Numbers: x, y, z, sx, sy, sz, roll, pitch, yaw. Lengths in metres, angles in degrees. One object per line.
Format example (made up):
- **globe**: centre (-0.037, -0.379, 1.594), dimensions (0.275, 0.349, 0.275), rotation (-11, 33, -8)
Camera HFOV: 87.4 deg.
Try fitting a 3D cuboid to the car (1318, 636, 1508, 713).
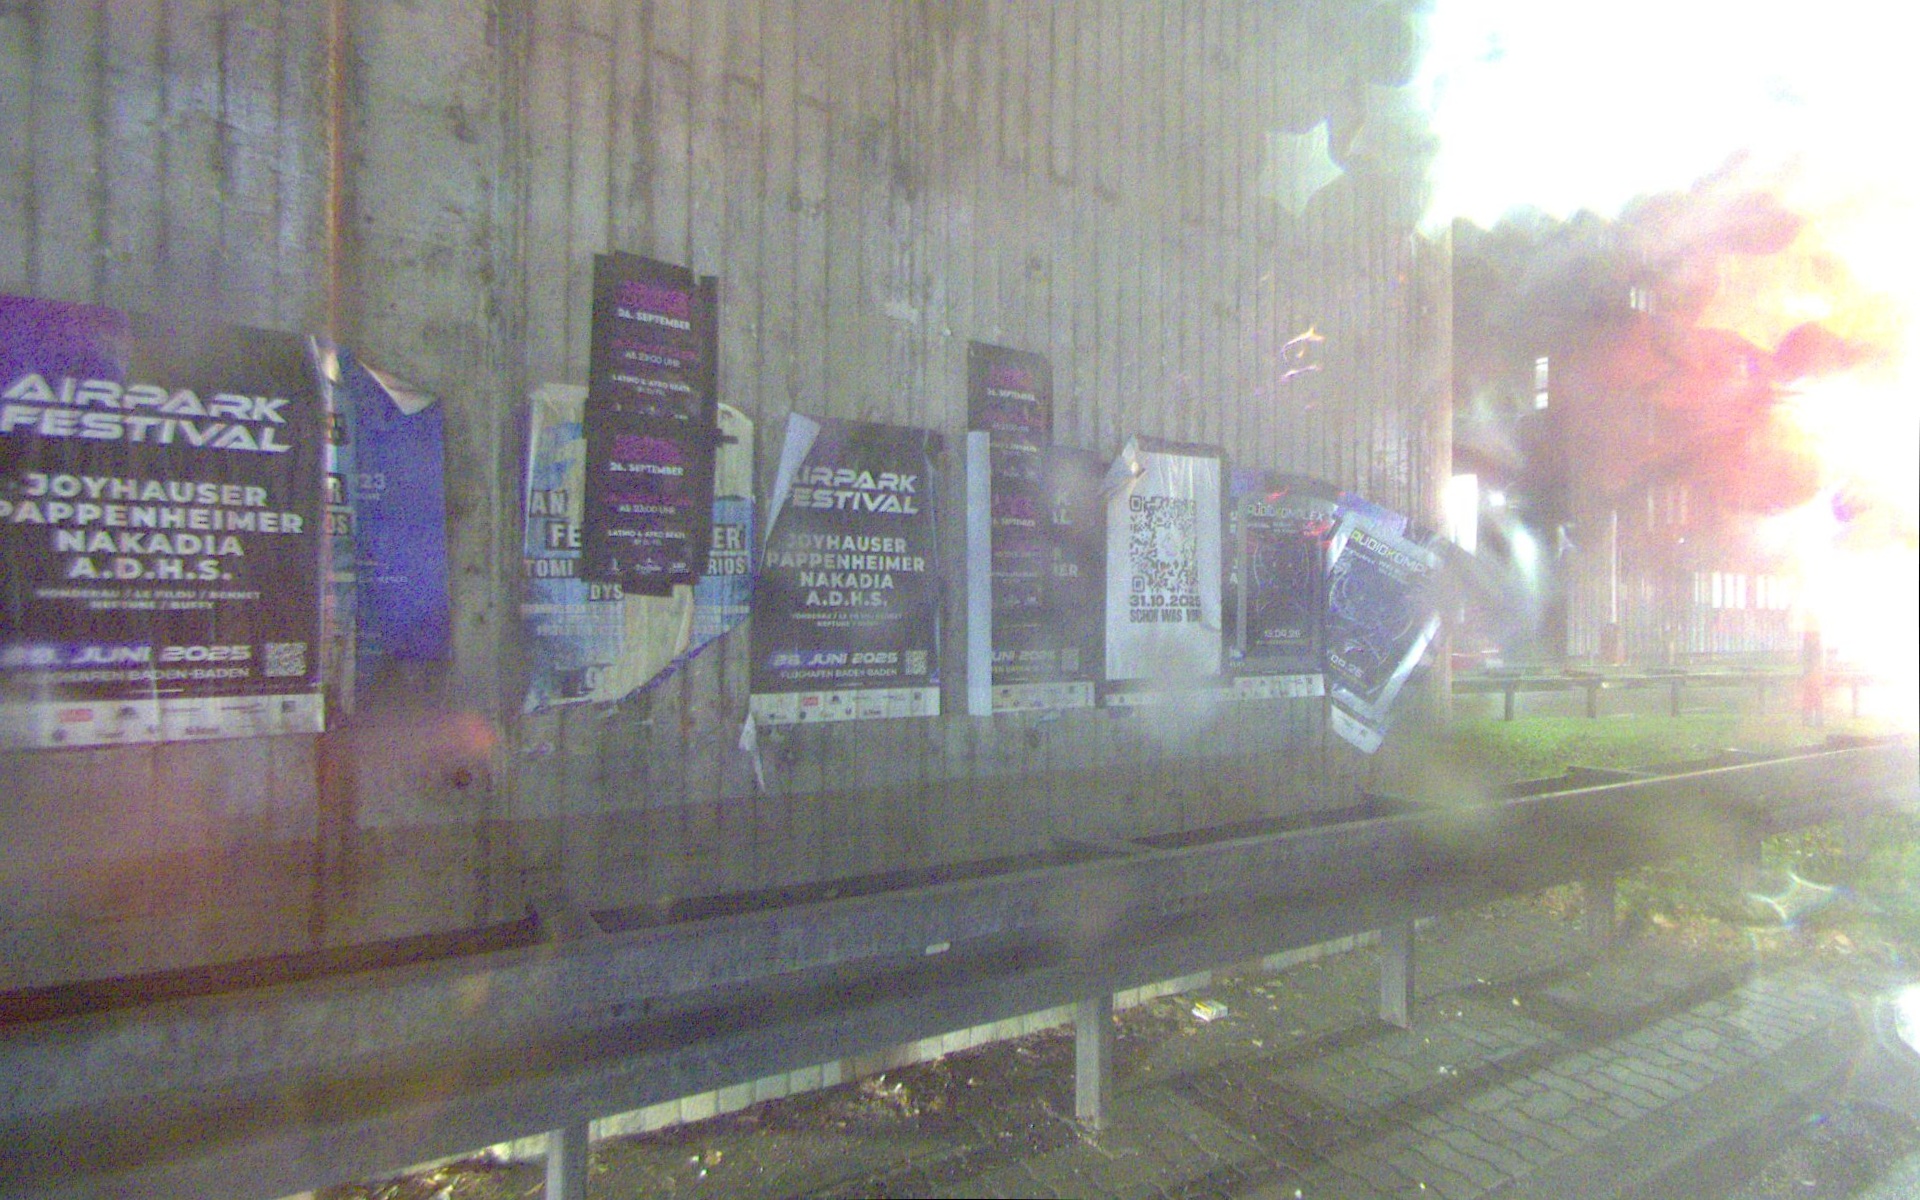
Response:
- **car**: centre (9.887, 1.577, 21.881), dimensions (3.953, 1.483, 1.816), rotation (2, -1, -30)
